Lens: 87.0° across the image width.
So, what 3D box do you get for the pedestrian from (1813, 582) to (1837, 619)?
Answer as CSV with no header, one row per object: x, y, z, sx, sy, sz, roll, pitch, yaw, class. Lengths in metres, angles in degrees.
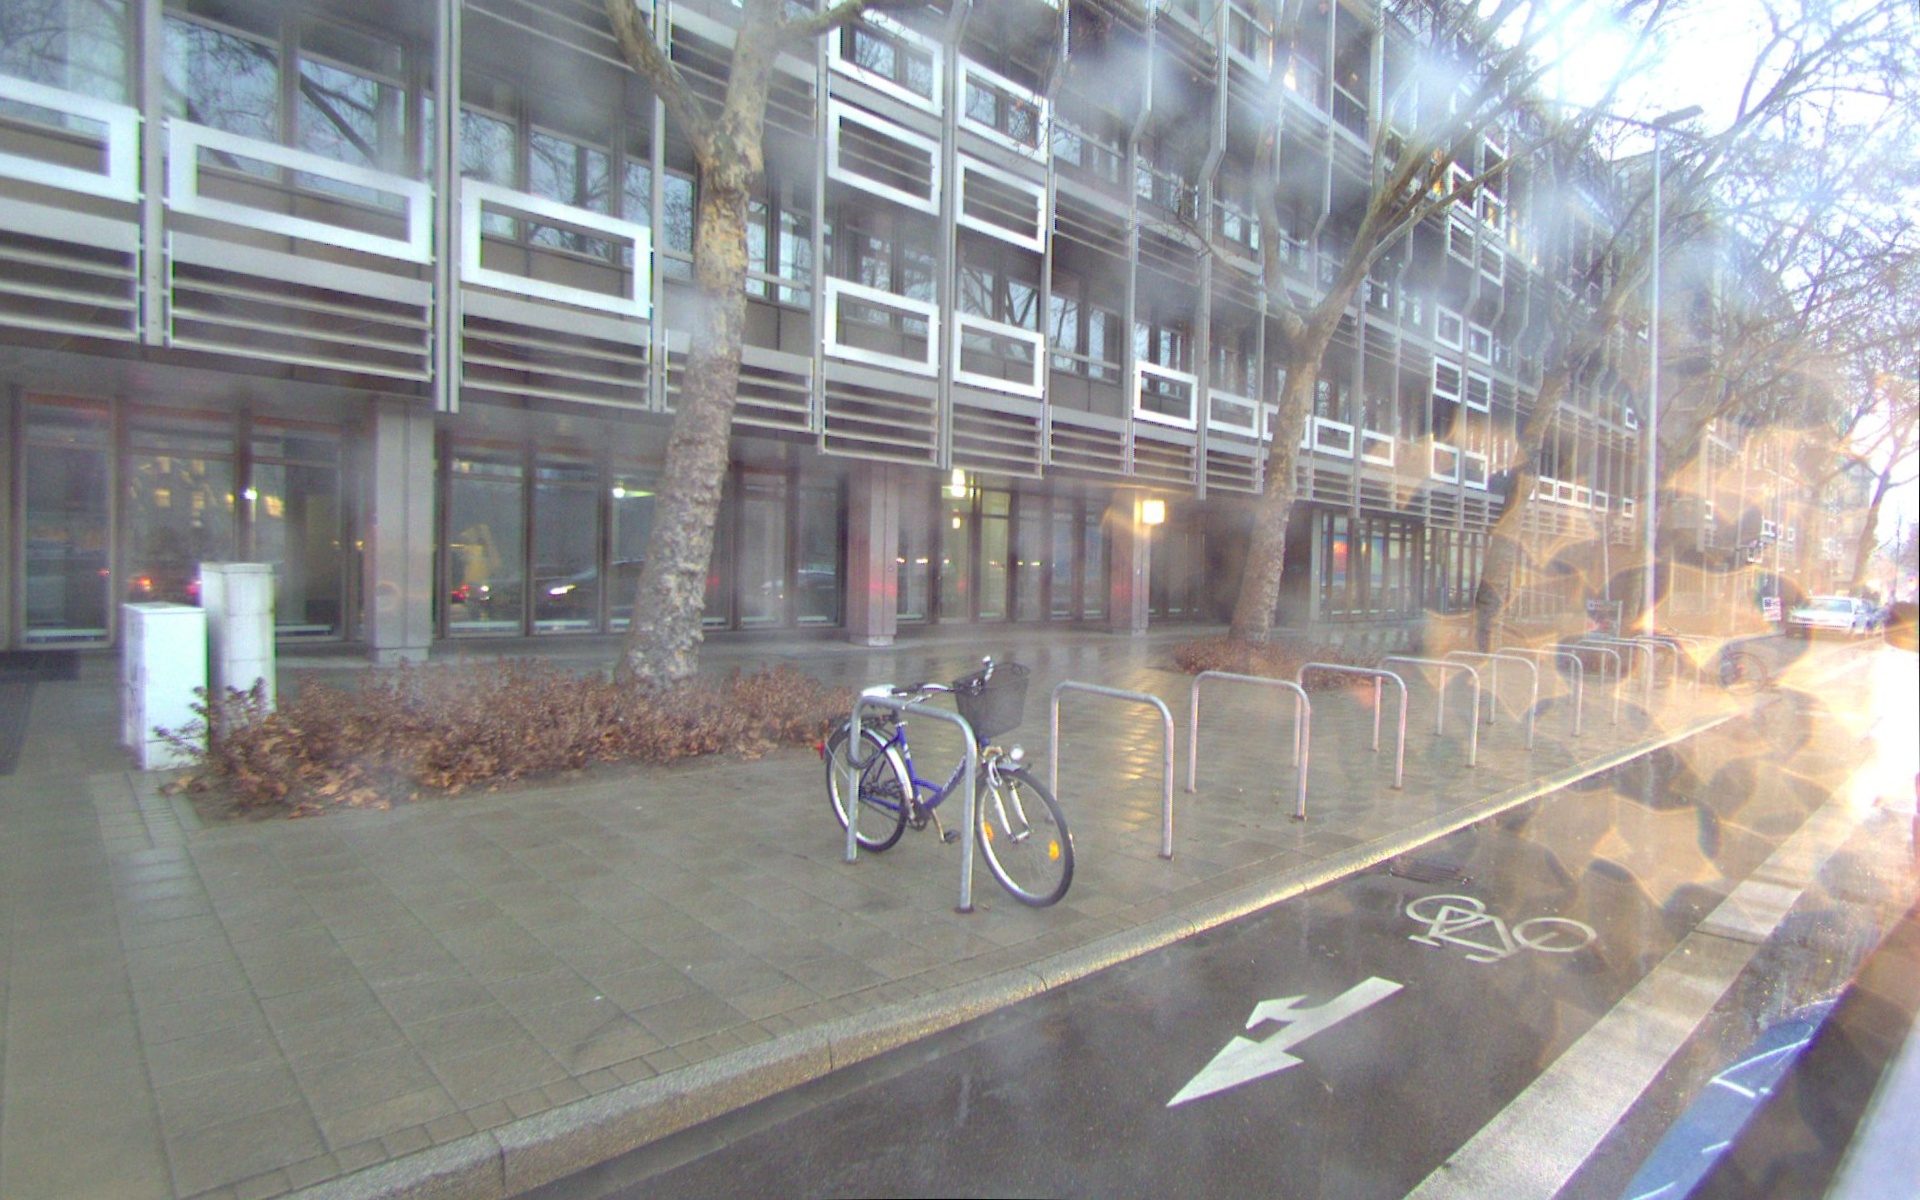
42.613,0.015,49.852,0.765,1.771,0.913,2,2,45,pedestrian

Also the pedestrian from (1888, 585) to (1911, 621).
47.050,0.136,50.661,0.765,1.771,0.913,2,2,45,pedestrian

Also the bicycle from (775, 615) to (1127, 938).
-0.128,0.714,4.878,0.629,1.145,1.810,2,2,-41,bicycle

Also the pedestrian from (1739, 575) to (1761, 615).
41.031,-0.267,52.538,0.912,2.004,0.699,0,2,-41,pedestrian

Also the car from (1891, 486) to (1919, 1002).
5.484,0.502,4.327,3.932,1.864,1.875,-1,0,-42,car

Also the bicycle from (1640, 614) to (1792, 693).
11.628,0.796,15.605,0.864,1.004,1.704,0,4,-41,bicycle

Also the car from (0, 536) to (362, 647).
-10.701,-0.160,14.014,3.929,1.326,1.998,0,3,-40,car

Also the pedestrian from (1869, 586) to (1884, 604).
68.058,-0.365,75.168,0.777,1.354,0.718,0,0,-41,pedestrian

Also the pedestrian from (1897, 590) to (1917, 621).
55.870,0.303,59.711,0.765,1.771,0.913,2,2,45,pedestrian

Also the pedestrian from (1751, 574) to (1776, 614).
45.059,-0.341,56.767,1.056,2.222,1.096,0,0,38,pedestrian

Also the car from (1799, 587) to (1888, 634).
29.543,0.313,33.818,3.930,1.482,1.711,-1,1,-41,car

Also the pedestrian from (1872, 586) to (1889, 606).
62.531,-0.274,68.750,0.738,1.354,0.781,0,0,-41,pedestrian
